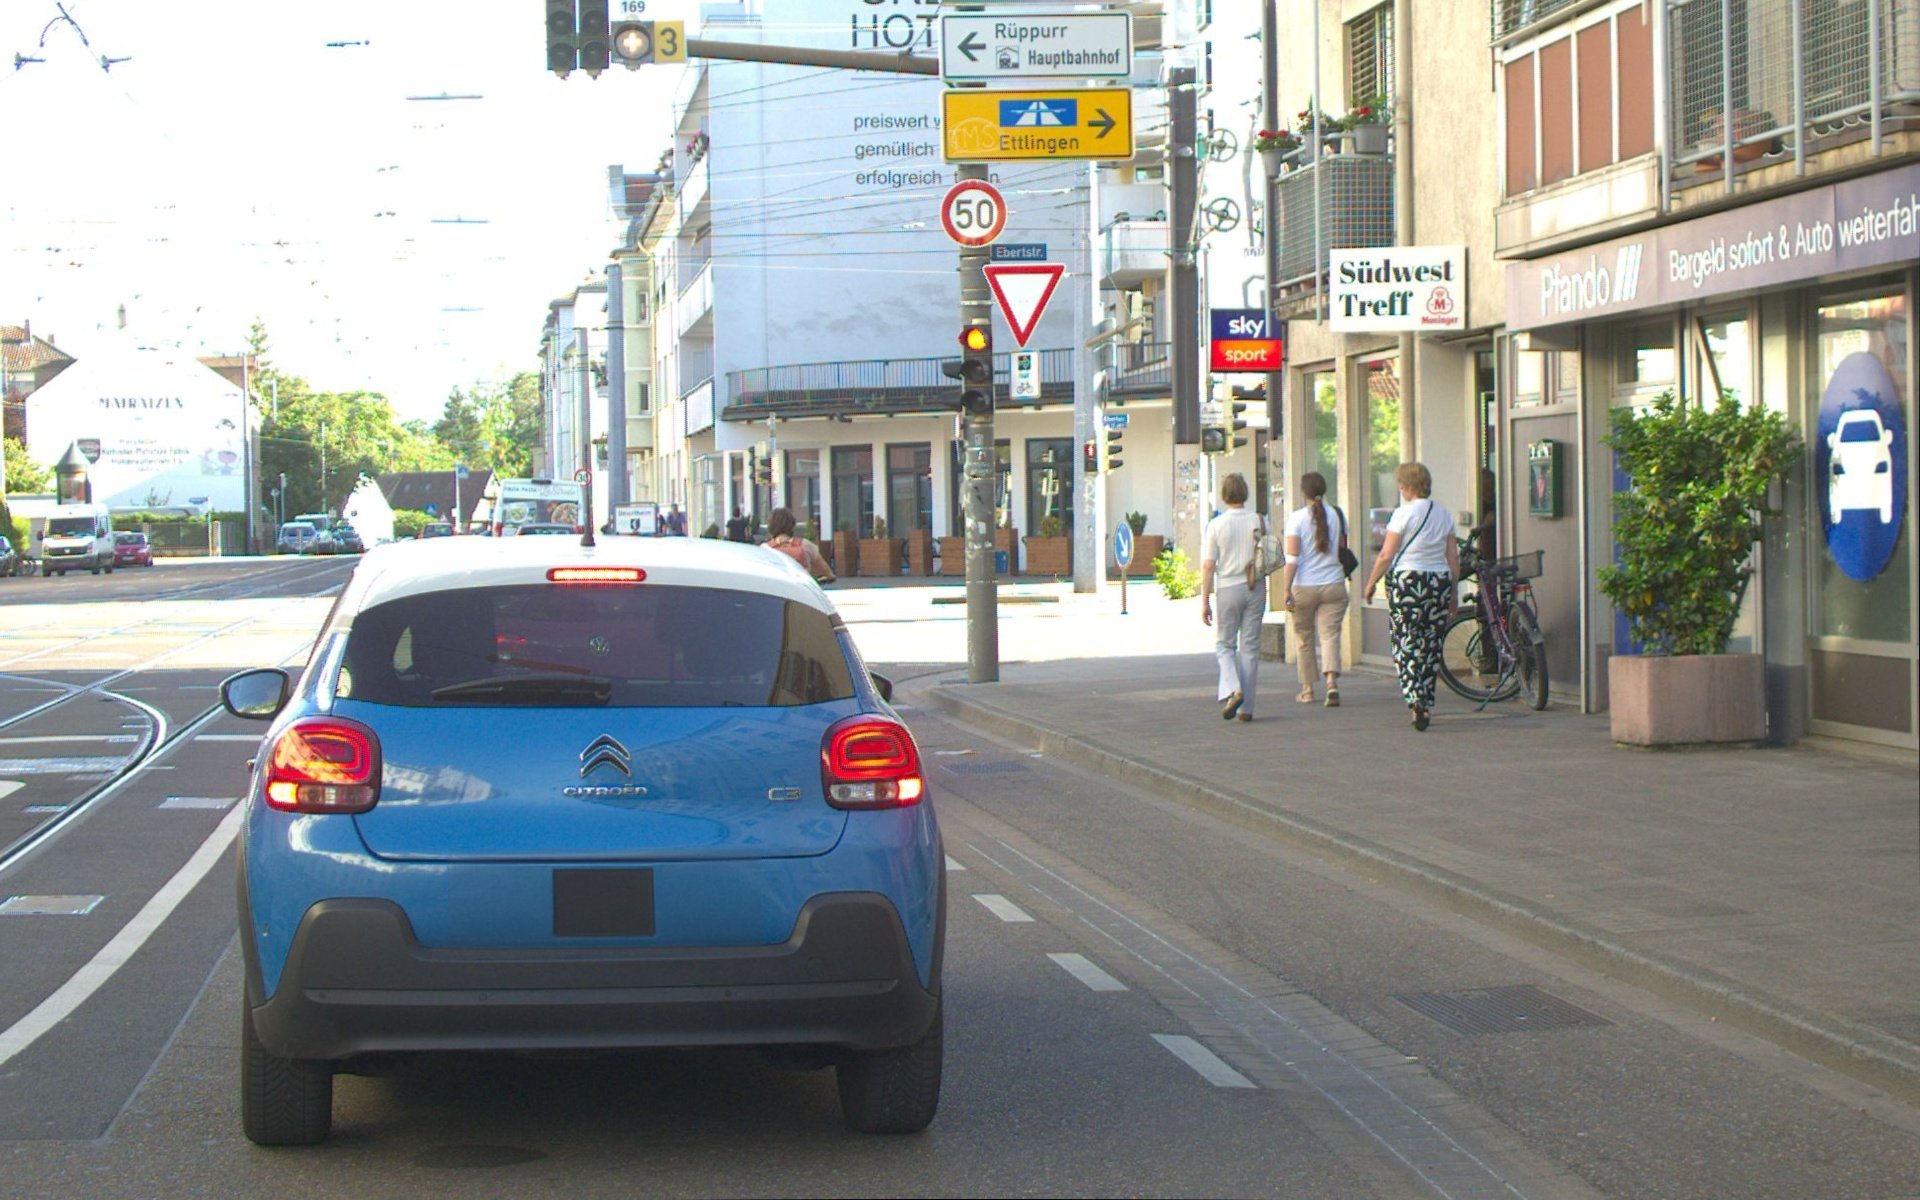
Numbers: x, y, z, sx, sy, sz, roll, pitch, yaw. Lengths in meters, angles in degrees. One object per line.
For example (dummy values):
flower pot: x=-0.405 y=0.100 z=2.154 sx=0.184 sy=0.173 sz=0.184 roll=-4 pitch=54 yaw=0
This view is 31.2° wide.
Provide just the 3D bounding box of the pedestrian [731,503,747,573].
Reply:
pedestrian: x=-4.943 y=-1.386 z=76.890 sx=0.284 sy=1.550 sz=0.305 roll=-1 pitch=1 yaw=-13

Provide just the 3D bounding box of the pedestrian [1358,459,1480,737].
pedestrian: x=2.828 y=-0.019 z=21.218 sx=0.541 sy=1.666 sz=0.650 roll=-3 pitch=2 yaw=-6

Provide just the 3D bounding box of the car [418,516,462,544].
car: x=-23.420 y=-3.160 z=154.731 sx=1.754 sy=1.255 sz=3.833 roll=-1 pitch=1 yaw=-11

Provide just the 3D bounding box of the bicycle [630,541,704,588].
bicycle: x=-6.186 y=-0.748 z=72.659 sx=1.503 sy=0.953 sz=0.702 roll=-1 pitch=1 yaw=-3

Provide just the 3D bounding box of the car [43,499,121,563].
car: x=-31.740 y=-2.514 z=124.385 sx=2.206 sy=2.243 sz=4.678 roll=-1 pitch=2 yaw=-8

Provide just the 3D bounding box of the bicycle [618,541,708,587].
bicycle: x=-6.361 y=-0.768 z=73.709 sx=1.873 sy=0.953 sz=0.702 roll=-1 pitch=1 yaw=-3

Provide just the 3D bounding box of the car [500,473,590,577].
car: x=-9.553 y=-1.706 z=78.878 sx=1.993 sy=2.317 sz=4.001 roll=0 pitch=1 yaw=-8

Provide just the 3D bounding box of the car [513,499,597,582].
car: x=-8.733 y=-1.273 z=74.013 sx=1.732 sy=1.744 sz=3.214 roll=0 pitch=1 yaw=-8

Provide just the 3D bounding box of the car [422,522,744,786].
car: x=-2.212 y=0.246 z=20.753 sx=1.738 sy=1.415 sz=4.001 roll=-1 pitch=1 yaw=-5

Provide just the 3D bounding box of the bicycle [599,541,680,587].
bicycle: x=-6.992 y=-0.790 z=75.028 sx=1.720 sy=0.953 sz=0.702 roll=-1 pitch=1 yaw=-3

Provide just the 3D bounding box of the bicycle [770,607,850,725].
bicycle: x=-1.205 y=0.509 z=27.478 sx=0.498 sy=0.861 sz=1.749 roll=-1 pitch=1 yaw=-7

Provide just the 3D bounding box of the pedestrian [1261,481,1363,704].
pedestrian: x=2.455 y=-0.061 z=24.013 sx=0.541 sy=1.502 sz=0.611 roll=-3 pitch=3 yaw=-6

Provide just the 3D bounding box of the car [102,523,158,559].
car: x=-36.029 y=-2.555 z=149.304 sx=2.021 sy=1.520 sz=4.001 roll=-1 pitch=1 yaw=-8

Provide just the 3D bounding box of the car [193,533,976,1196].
car: x=-1.149 y=0.554 z=9.723 sx=1.743 sy=1.457 sz=4.001 roll=0 pitch=1 yaw=-9

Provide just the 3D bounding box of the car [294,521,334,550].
car: x=-36.028 y=-3.613 z=191.891 sx=2.021 sy=1.520 sz=4.001 roll=-1 pitch=2 yaw=-8

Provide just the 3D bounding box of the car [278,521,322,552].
car: x=-33.478 y=-3.213 z=174.444 sx=2.021 sy=1.520 sz=4.001 roll=-1 pitch=1 yaw=-8

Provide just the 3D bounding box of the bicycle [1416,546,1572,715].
bicycle: x=3.556 y=0.182 z=23.023 sx=0.530 sy=1.068 sz=1.811 roll=-1 pitch=1 yaw=-8

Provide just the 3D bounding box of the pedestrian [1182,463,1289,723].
pedestrian: x=1.820 y=-0.059 z=22.764 sx=0.541 sy=1.666 sz=0.624 roll=-3 pitch=3 yaw=-6

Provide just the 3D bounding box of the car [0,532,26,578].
car: x=-34.113 y=-1.586 z=121.042 sx=1.870 sy=1.568 sz=4.001 roll=-1 pitch=1 yaw=-8

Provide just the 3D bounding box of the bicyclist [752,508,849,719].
bicyclist: x=-1.268 y=0.095 z=27.205 sx=0.726 sy=1.640 sz=0.790 roll=-1 pitch=1 yaw=-4

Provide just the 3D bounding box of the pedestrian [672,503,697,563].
pedestrian: x=-7.112 y=-1.731 z=88.688 sx=0.491 sy=1.550 sz=0.648 roll=-1 pitch=1 yaw=-16

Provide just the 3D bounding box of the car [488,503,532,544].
car: x=-17.950 y=-3.030 z=137.268 sx=1.688 sy=1.612 sz=4.001 roll=0 pitch=1 yaw=-7
